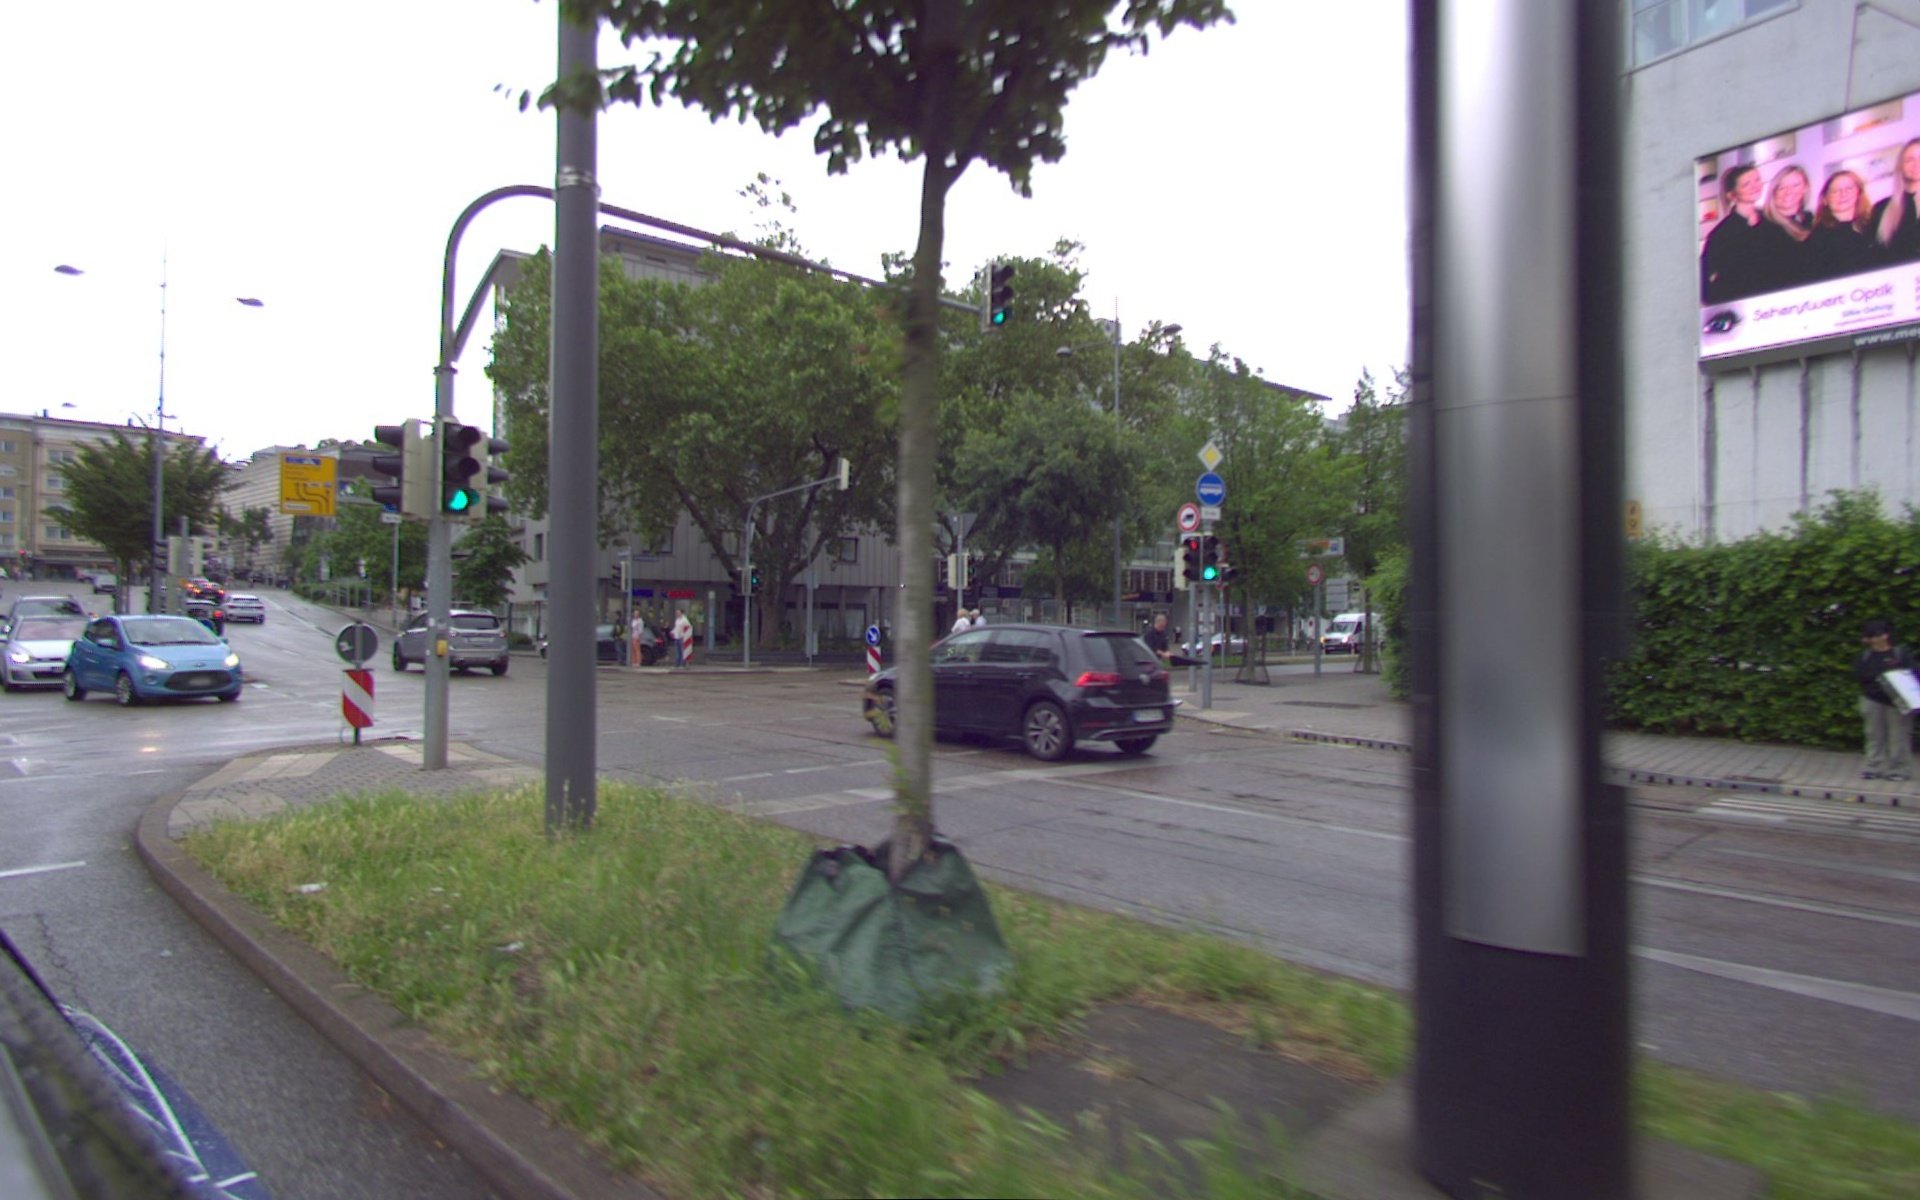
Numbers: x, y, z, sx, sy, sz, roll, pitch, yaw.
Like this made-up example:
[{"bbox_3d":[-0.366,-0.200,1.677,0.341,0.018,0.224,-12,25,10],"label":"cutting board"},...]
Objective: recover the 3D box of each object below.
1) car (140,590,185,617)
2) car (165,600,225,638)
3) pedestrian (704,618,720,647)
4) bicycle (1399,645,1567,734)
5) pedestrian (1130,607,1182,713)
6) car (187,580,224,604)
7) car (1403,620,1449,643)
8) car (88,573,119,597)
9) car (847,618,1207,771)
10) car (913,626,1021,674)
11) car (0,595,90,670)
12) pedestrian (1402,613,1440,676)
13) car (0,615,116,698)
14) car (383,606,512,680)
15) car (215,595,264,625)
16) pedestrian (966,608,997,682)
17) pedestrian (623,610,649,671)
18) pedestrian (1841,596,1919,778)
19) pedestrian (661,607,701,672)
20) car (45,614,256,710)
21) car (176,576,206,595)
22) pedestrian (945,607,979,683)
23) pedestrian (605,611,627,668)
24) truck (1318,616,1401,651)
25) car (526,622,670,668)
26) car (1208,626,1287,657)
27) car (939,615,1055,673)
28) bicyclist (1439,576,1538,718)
[{"bbox_3d":[-46.631,0.199,59.172,1.693,1.490,3.961,4,-2,-43],"label":"car"},{"bbox_3d":[-32.938,0.813,43.533,1.603,1.567,3.662,2,-2,-44],"label":"car"},{"bbox_3d":[-14.281,1.861,58.258,0.613,1.669,0.634,2,1,-37],"label":"pedestrian"},{"bbox_3d":[7.325,1.219,14.290,0.641,1.119,2.064,1,-2,-33],"label":"bicycle"},{"bbox_3d":[3.446,1.034,17.771,0.592,1.777,0.640,3,1,43],"label":"pedestrian"},{"bbox_3d":[-52.685,-0.549,70.668,1.599,1.503,3.883,4,-3,-43],"label":"car"},{"bbox_3d":[43.247,2.889,93.853,3.744,1.762,1.923,-2,3,-27],"label":"car"},{"bbox_3d":[-67.986,-1.190,80.317,1.805,1.749,4.006,3,0,-41],"label":"car"},{"bbox_3d":[0.645,0.989,11.924,1.737,1.431,4.099,4,-3,-44],"label":"car"},{"bbox_3d":[0.307,1.755,35.999,1.701,1.598,3.945,-2,-3,41],"label":"car"},{"bbox_3d":[-26.259,0.842,28.927,1.969,1.791,4.892,-1,3,-42],"label":"car"},{"bbox_3d":[13.431,1.305,29.490,0.642,1.794,0.796,2,-2,-9],"label":"pedestrian"},{"bbox_3d":[-18.443,1.067,20.505,1.745,1.420,4.003,0,1,-45],"label":"car"},{"bbox_3d":[-13.380,1.055,26.293,1.806,1.749,4.315,2,-1,-43],"label":"car"},{"bbox_3d":[-38.462,0.530,54.022,1.652,1.527,3.647,3,-2,-42],"label":"car"},{"bbox_3d":[0.527,1.097,24.915,0.520,1.778,0.593,2,-2,-44],"label":"pedestrian"},{"bbox_3d":[-10.030,1.242,31.370,0.677,1.851,0.441,3,1,43],"label":"pedestrian"},{"bbox_3d":[9.377,0.860,10.250,0.631,1.778,0.521,-1,-2,44],"label":"pedestrian"},{"bbox_3d":[-8.414,1.178,30.550,0.822,1.921,0.854,0,-1,24],"label":"pedestrian"},{"bbox_3d":[-13.891,1.001,17.339,3.677,1.485,1.683,-1,-2,32],"label":"car"},{"bbox_3d":[-62.751,-1.197,82.573,1.605,1.448,3.652,2,1,-42],"label":"car"},{"bbox_3d":[0.058,1.064,24.345,0.520,1.777,0.593,-3,2,-44],"label":"pedestrian"},{"bbox_3d":[-10.934,1.262,32.159,0.406,1.777,0.677,2,-3,-44],"label":"pedestrian"},{"bbox_3d":[25.626,2.119,64.822,6.599,2.171,2.003,1,-2,-40],"label":"truck"},{"bbox_3d":[-12.342,1.527,34.783,4.355,1.406,1.937,2,-1,-10],"label":"car"},{"bbox_3d":[15.093,2.154,53.117,3.933,1.567,1.963,2,-2,-35],"label":"car"},{"bbox_3d":[1.196,1.380,31.955,3.547,1.709,1.639,2,-3,-43],"label":"car"},{"bbox_3d":[7.394,0.638,14.187,0.781,1.904,0.956,1,-2,-34],"label":"bicyclist"}]
